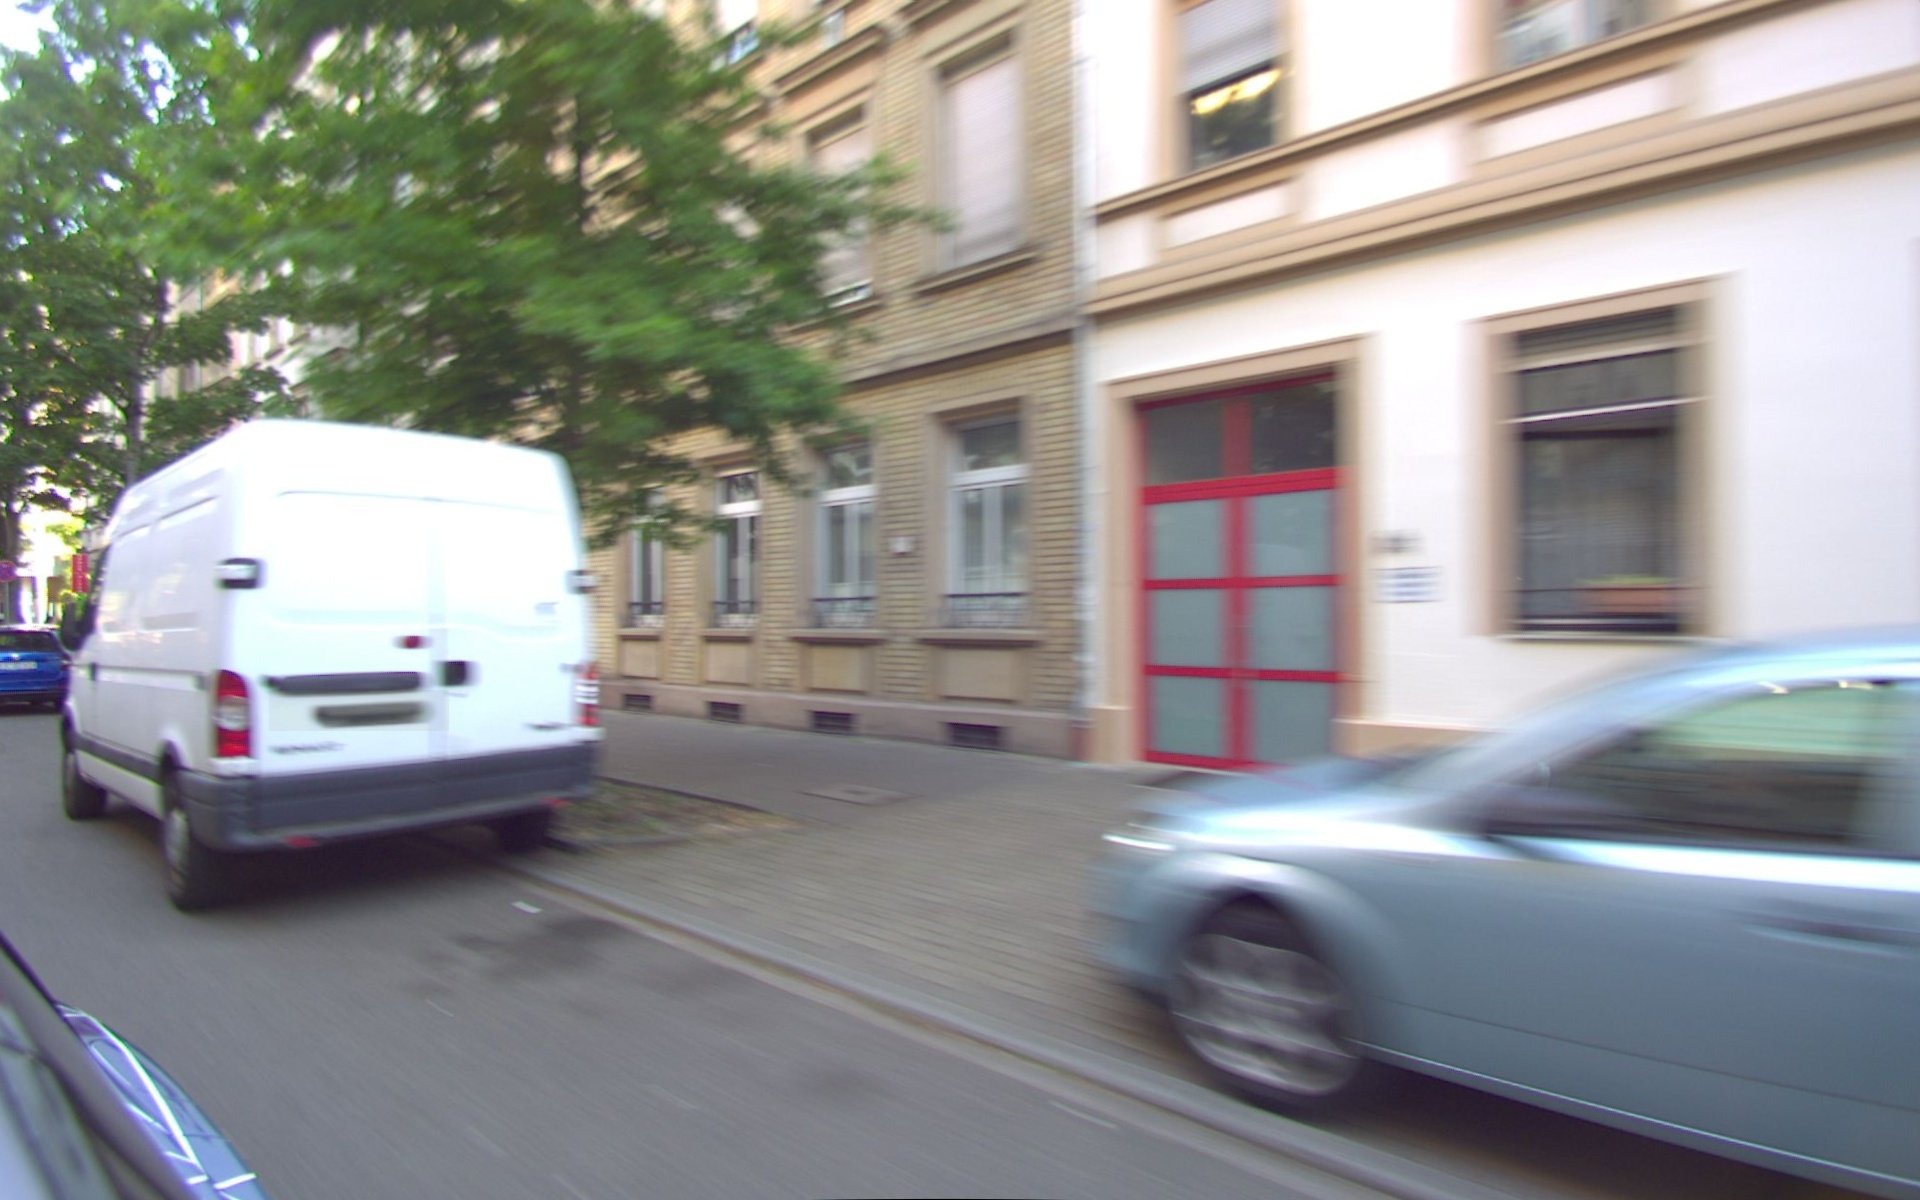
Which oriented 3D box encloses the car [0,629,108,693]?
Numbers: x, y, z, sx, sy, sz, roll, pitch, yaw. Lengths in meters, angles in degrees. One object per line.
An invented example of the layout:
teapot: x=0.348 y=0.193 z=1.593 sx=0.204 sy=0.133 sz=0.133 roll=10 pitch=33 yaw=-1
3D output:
car: x=-23.472 y=1.516 z=25.983 sx=3.752 sy=1.506 sz=1.735 roll=-2 pitch=-2 yaw=39

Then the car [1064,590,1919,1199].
car: x=2.444 y=0.748 z=2.673 sx=4.111 sy=1.521 sz=1.666 roll=-2 pitch=-2 yaw=41

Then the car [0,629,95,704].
car: x=-20.601 y=1.419 z=22.437 sx=3.756 sy=1.506 sz=1.733 roll=-2 pitch=-2 yaw=42

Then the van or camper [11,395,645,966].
van or camper: x=-4.717 y=0.426 z=7.053 sx=5.658 sy=2.449 sz=2.196 roll=-2 pitch=-3 yaw=41

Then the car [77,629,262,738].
car: x=-12.311 y=1.197 z=15.678 sx=3.846 sy=1.451 sz=1.593 roll=-2 pitch=-1 yaw=42

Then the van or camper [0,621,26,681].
van or camper: x=-31.640 y=1.619 z=32.643 sx=3.752 sy=1.872 sz=1.663 roll=-2 pitch=-2 yaw=39

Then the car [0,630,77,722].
car: x=-16.829 y=1.251 z=17.400 sx=4.277 sy=1.468 sz=1.644 roll=-2 pitch=-3 yaw=38
